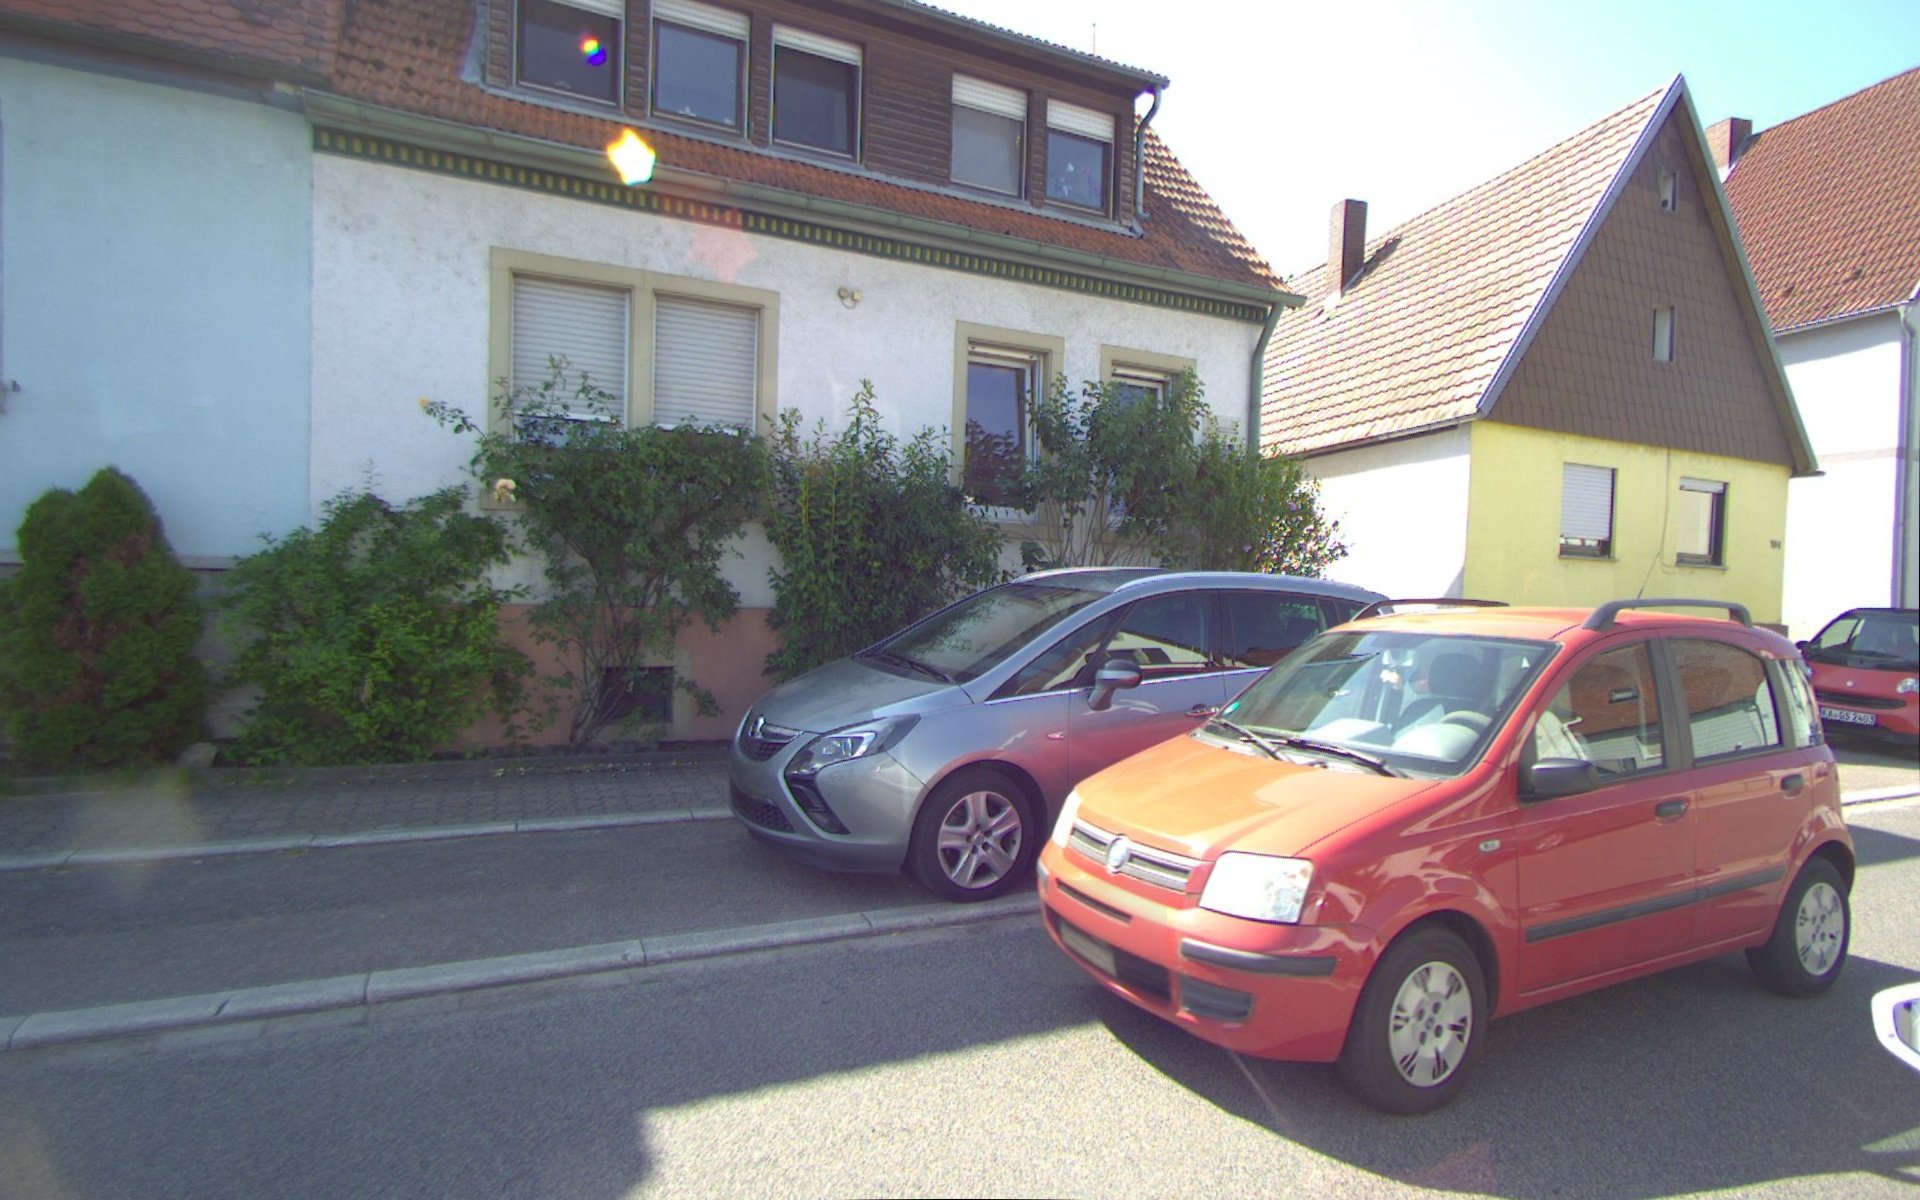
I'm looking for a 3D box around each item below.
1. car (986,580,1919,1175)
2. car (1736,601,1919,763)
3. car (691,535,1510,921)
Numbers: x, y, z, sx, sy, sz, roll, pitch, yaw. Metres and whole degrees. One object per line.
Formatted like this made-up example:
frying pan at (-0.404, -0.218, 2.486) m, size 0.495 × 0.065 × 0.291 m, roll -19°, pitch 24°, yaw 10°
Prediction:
car at (2.071, 0.749, 4.128) m, size 3.579 × 1.509 × 1.595 m, roll 1°, pitch 2°, yaw -28°
car at (10.555, 0.863, 11.412) m, size 2.948 × 1.565 × 1.547 m, roll 2°, pitch 2°, yaw -26°
car at (0.873, 0.578, 6.090) m, size 4.599 × 1.659 × 1.868 m, roll 2°, pitch 2°, yaw -24°
